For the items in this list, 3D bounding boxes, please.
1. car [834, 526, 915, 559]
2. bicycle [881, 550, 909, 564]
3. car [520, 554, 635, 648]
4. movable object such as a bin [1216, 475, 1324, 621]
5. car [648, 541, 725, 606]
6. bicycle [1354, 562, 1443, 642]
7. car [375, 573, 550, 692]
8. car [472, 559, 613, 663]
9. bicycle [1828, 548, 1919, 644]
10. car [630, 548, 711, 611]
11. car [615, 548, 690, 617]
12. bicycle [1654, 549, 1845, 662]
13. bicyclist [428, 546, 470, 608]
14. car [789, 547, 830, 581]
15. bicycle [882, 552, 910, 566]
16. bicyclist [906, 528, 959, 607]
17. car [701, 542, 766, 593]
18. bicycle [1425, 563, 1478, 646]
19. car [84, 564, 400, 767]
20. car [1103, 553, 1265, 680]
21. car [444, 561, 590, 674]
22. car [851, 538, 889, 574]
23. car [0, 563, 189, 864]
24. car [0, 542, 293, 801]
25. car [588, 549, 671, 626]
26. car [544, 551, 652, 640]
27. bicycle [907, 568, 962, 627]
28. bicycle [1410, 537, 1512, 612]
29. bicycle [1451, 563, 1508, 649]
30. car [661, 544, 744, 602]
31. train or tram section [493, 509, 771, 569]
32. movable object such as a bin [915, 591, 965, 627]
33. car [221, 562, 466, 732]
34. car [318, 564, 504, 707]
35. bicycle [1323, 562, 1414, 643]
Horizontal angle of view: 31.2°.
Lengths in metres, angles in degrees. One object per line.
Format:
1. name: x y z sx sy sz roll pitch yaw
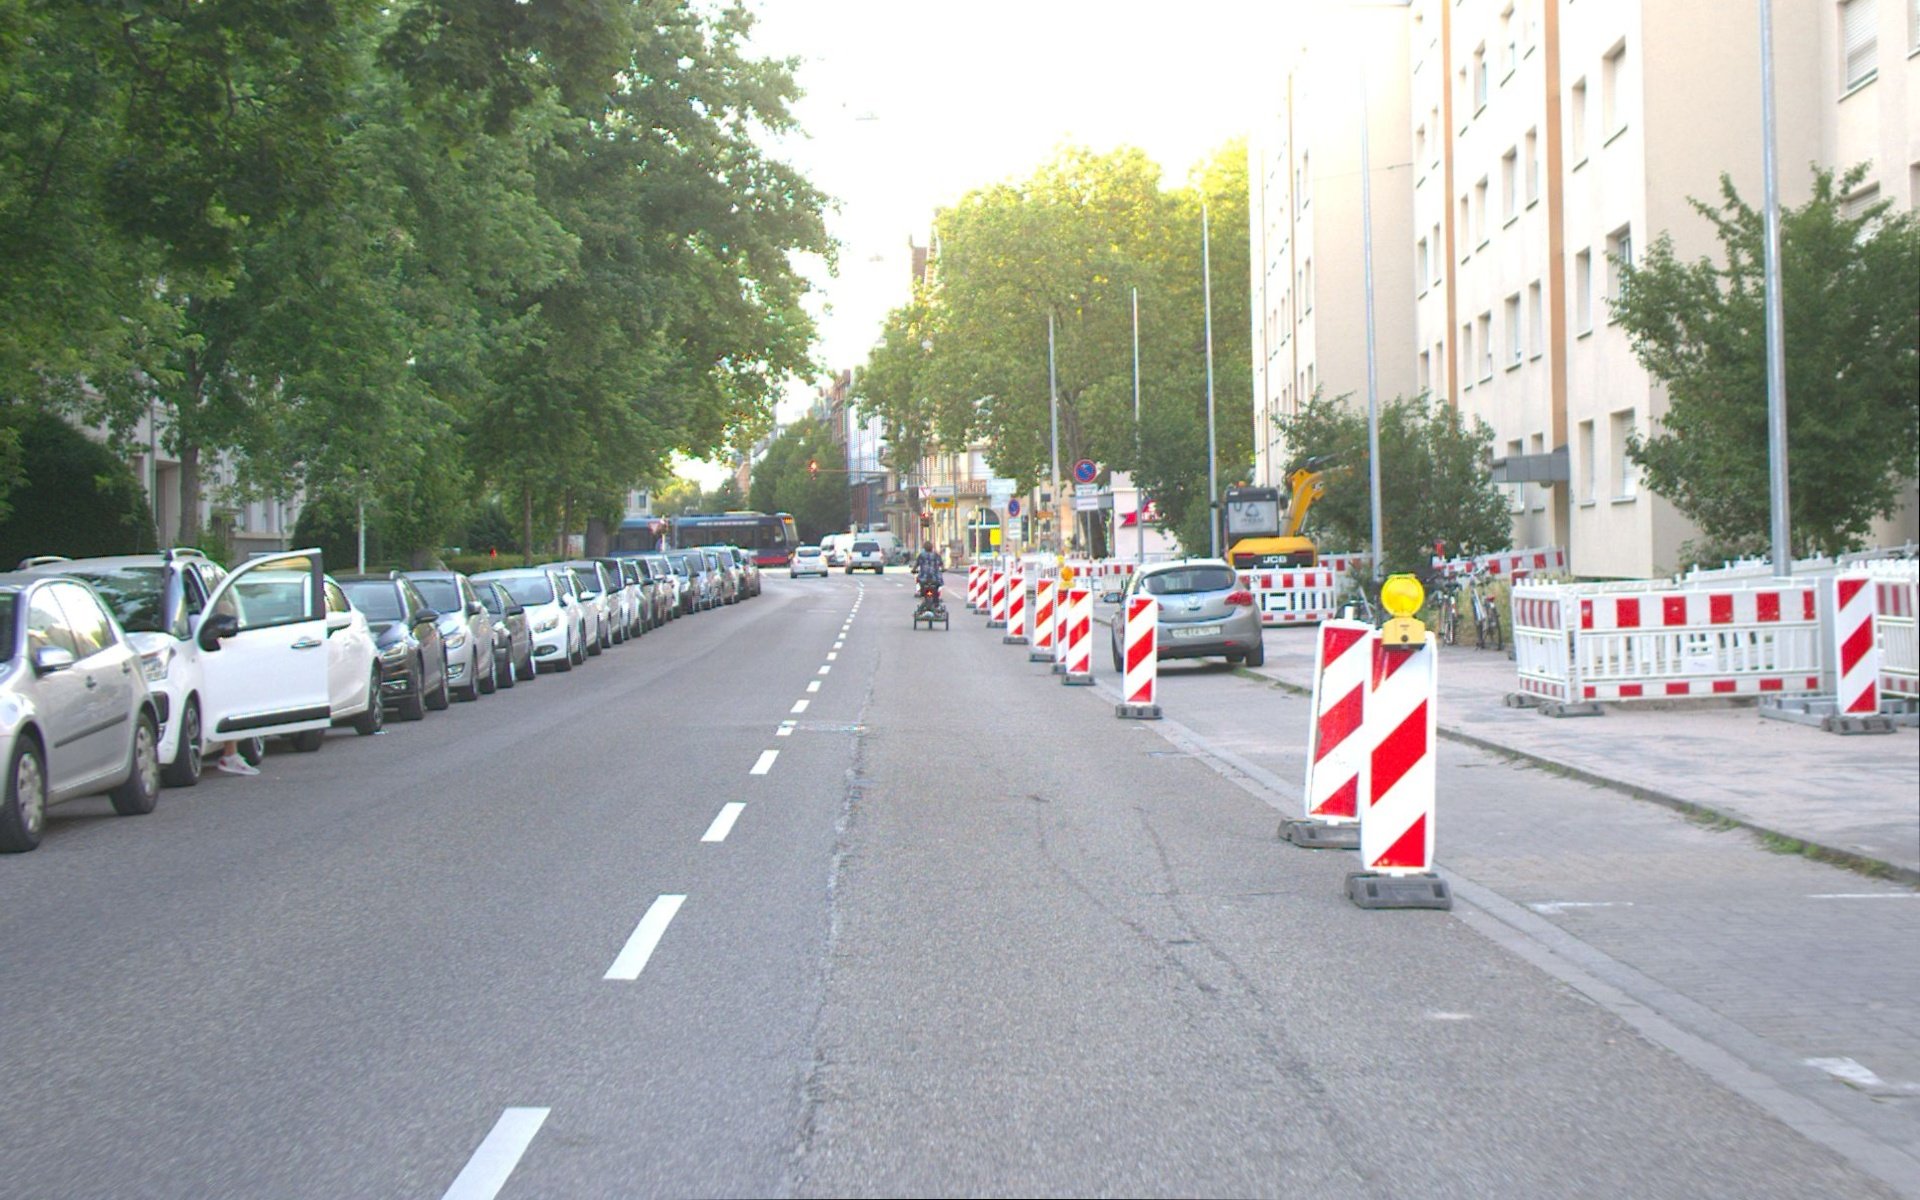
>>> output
1. car: -6.044 -4.090 243.613 5.807 2.280 2.071 -2 1 -44
2. bicycle: -4.479 -2.958 237.430 1.914 0.965 0.546 -1 1 -3
3. car: -6.704 -0.008 60.549 1.590 1.500 3.800 -4 1 -1
4. movable object such as a bin: 5.874 -0.992 65.345 1.933 2.684 2.891 -1 1 3
5. car: -7.291 -0.720 91.945 1.707 1.595 4.117 -4 1 -1
6. bicycle: 6.582 0.024 51.688 0.626 1.168 1.817 -1 1 -17
7. car: -6.359 0.378 44.364 1.674 1.327 4.580 -4 1 -2
8. car: -6.502 0.137 53.973 1.692 1.454 4.484 -4 1 -1
9. bicycle: 10.240 -0.068 37.398 1.812 0.918 0.557 -6 0 -42
10. car: -7.340 -0.539 87.528 1.707 1.447 3.843 -4 1 -1
11. car: -7.405 -0.438 83.132 1.590 1.533 4.207 -4 1 -3
12. bicycle: 8.397 0.056 36.588 1.811 1.019 0.558 -6 0 0
13. bicyclist: -11.512 -0.523 77.452 0.808 1.399 0.974 0 1 -1
14. car: -7.349 -1.769 167.246 1.866 1.580 4.001 -2 1 -4
15. bicycle: -4.445 -2.841 237.414 1.914 0.965 0.546 -1 1 -3
16. bicyclist: -0.584 -0.676 71.973 0.939 1.576 1.146 -3 0 -4
17. car: -7.711 -1.111 117.301 1.953 1.611 4.605 -3 1 -2
18. bicycle: 7.094 0.051 49.667 0.556 1.168 1.817 0 1 1
19. car: -6.006 0.502 29.186 1.752 1.474 3.944 -4 1 0
20. car: 2.963 0.175 46.287 1.776 1.485 4.573 -4 1 0
21. car: -6.321 0.217 49.405 1.692 1.454 4.146 -4 1 -3
22. car: -4.776 -2.325 181.459 1.866 1.808 4.000 -2 1 -3
23. car: -5.654 0.593 18.986 1.752 1.466 4.224 -4 1 0
24. car: -6.039 0.460 24.731 1.752 1.626 4.108 -4 1 -2
25. car: -7.054 -0.286 73.580 1.523 1.524 3.165 -4 1 -3
26. car: -6.790 -0.098 64.653 1.590 1.524 2.921 -4 1 1
27. bicycle: -0.548 -0.062 71.969 0.939 1.168 2.359 -3 1 -4
28. bicycle: 8.279 -0.425 56.816 1.592 1.217 0.485 0 1 -7
29. bicycle: 7.186 0.072 47.619 0.556 1.168 1.817 0 1 1
30. car: -7.231 -0.775 96.751 1.733 1.492 4.270 -3 1 3
31. train or tram section: -20.974 -3.859 219.944 17.020 3.613 5.040 0 1 17
32. movable object such as a bin: -0.411 0.180 70.296 0.939 0.686 0.993 -3 1 -4
33. car: -6.113 0.413 34.566 1.752 1.474 4.679 -4 1 -3
34. car: -6.272 0.370 39.616 1.674 1.454 3.706 -4 1 -3
35. bicycle: 6.074 0.023 51.179 0.556 1.168 1.817 -1 1 -21
